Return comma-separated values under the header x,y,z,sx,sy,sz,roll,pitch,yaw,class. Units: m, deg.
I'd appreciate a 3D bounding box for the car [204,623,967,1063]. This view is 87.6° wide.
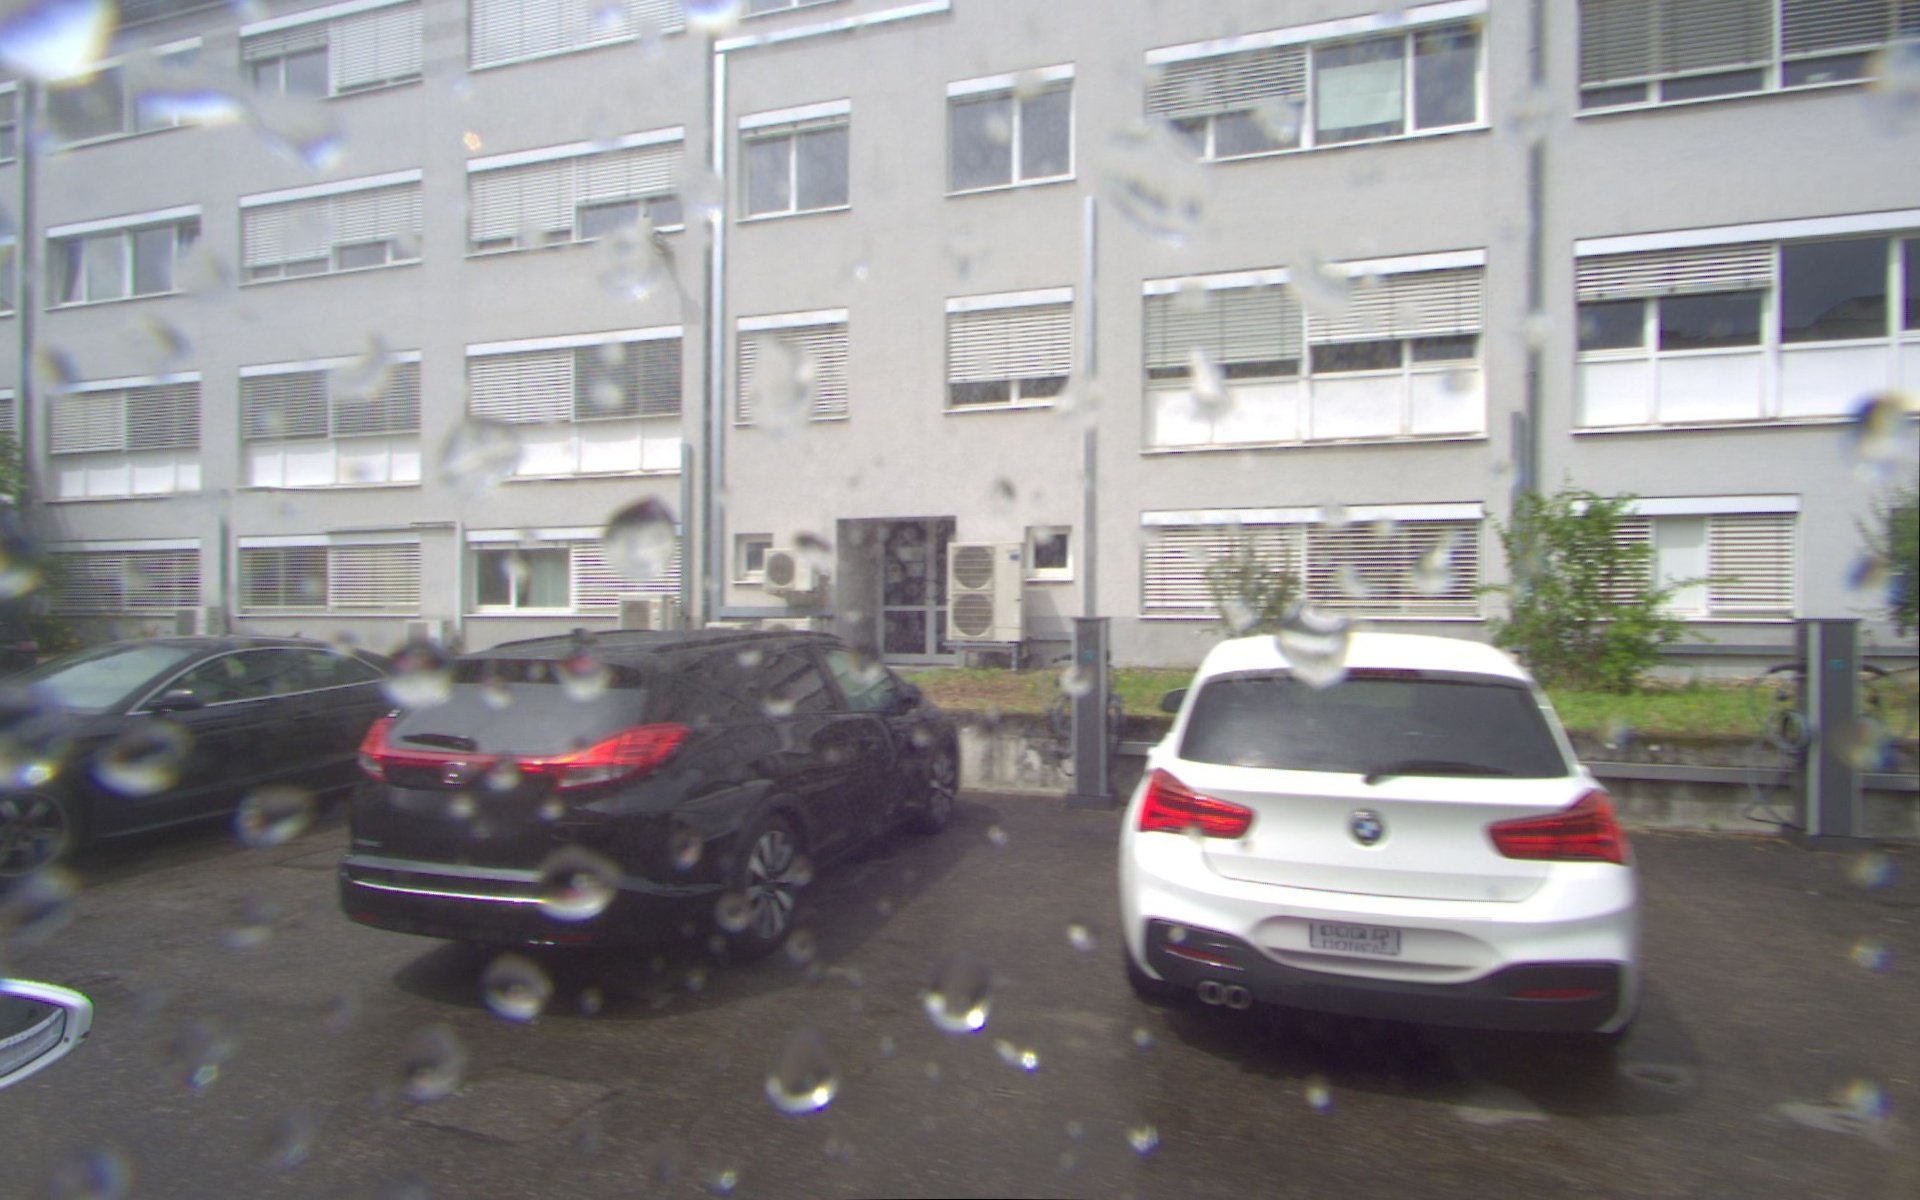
x,y,z,sx,sy,sz,roll,pitch,yaw,class
-1.450,0.871,5.640,1.904,1.419,4.178,0,0,16,car

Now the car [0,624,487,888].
x,y,z,sx,sy,sz,roll,pitch,yaw,class
-5.700,0.894,7.074,1.826,1.366,4.362,1,0,16,car

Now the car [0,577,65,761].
x,y,z,sx,sy,sz,roll,pitch,yaw,class
-11.209,0.687,8.719,2.072,1.857,4.718,0,0,17,car

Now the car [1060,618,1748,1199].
x,y,z,sx,sy,sz,roll,pitch,yaw,class
1.829,0.856,4.816,1.801,1.474,4.103,0,0,19,car
